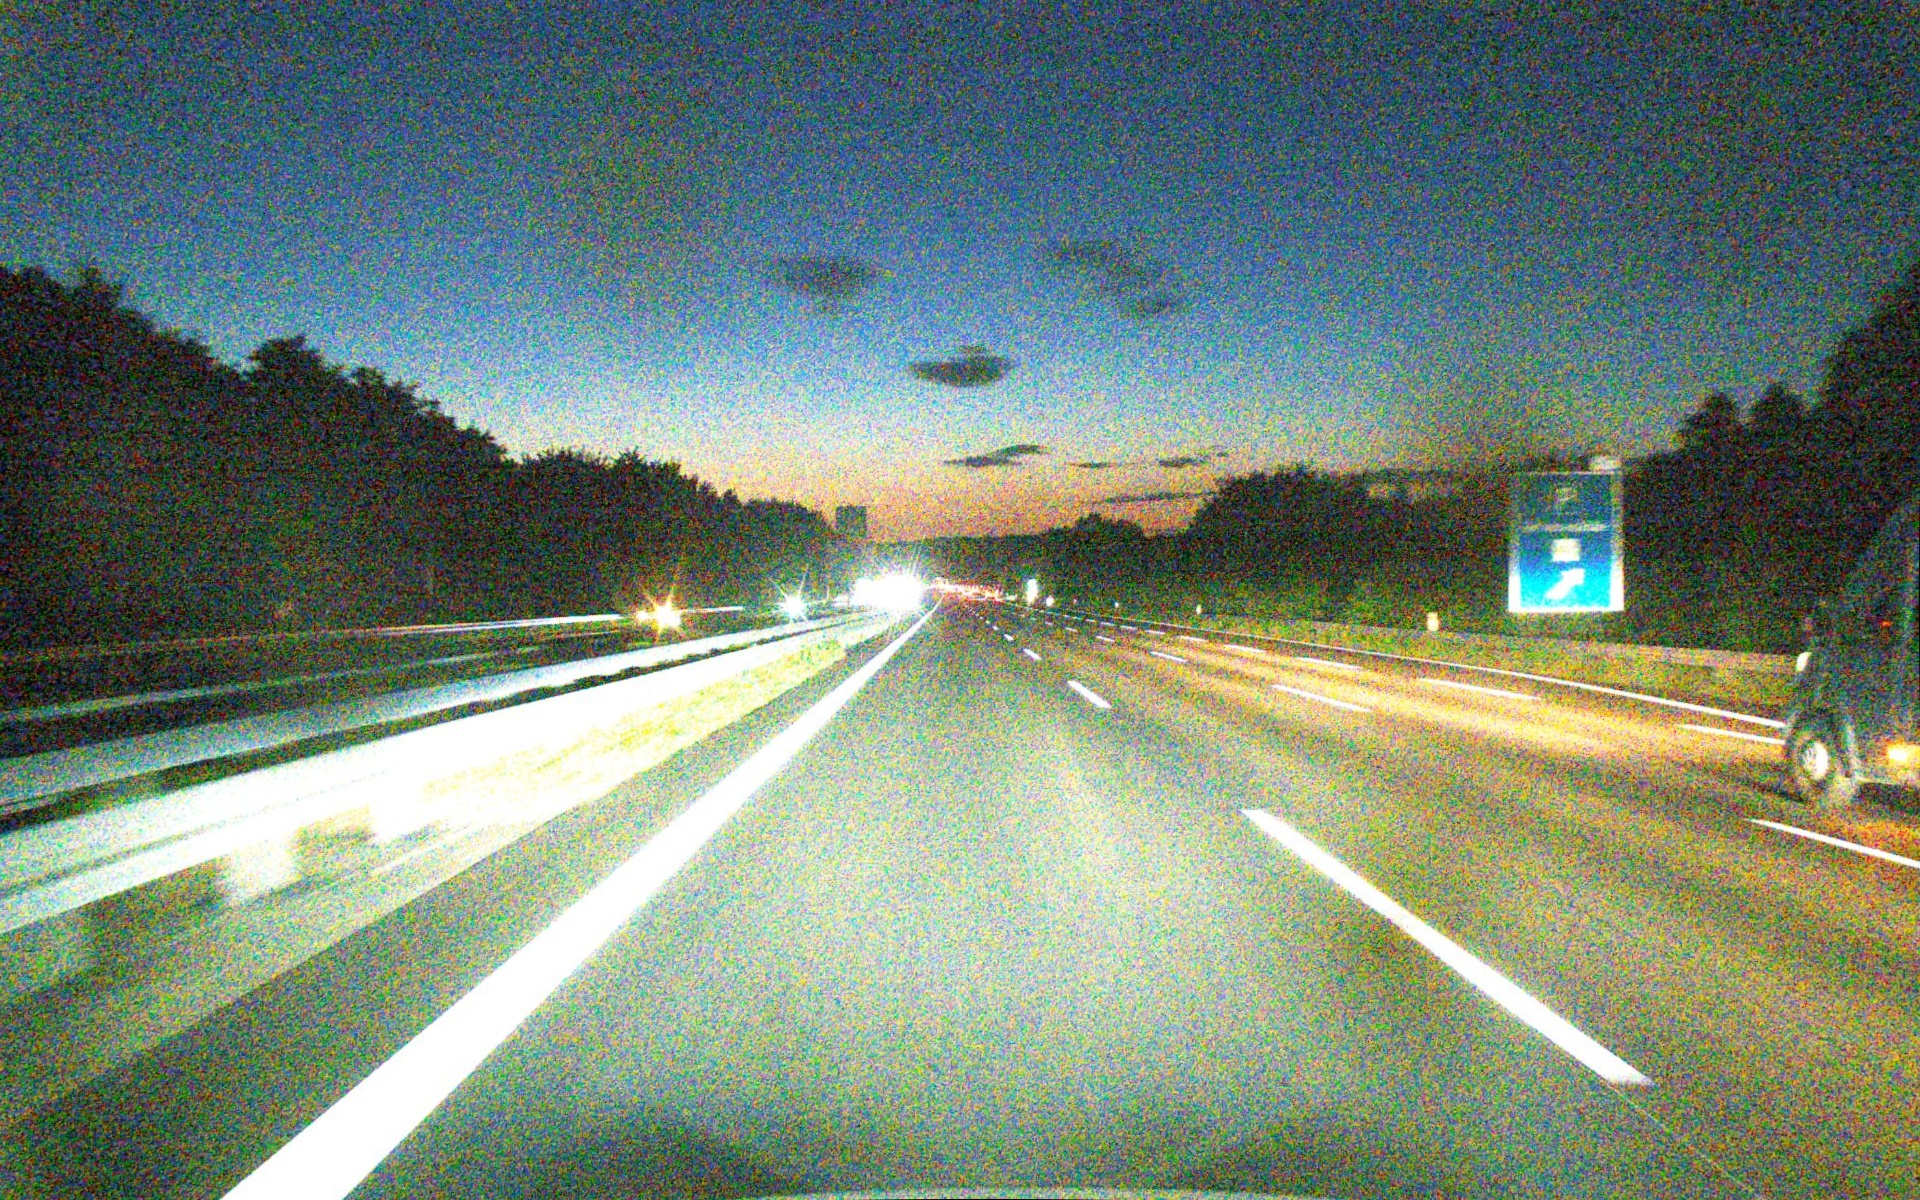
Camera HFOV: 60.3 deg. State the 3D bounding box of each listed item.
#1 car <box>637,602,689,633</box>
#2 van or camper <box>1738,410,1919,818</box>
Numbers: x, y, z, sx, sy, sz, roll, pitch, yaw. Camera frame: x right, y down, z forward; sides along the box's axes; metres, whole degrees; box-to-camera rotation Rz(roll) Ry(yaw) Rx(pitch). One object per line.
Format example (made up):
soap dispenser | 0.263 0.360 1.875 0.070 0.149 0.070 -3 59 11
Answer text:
car | -16.503 0.945 92.119 1.953 1.578 5.004 -4 0 -1
van or camper | 7.726 0.116 10.607 2.162 2.820 6.803 1 0 -1
